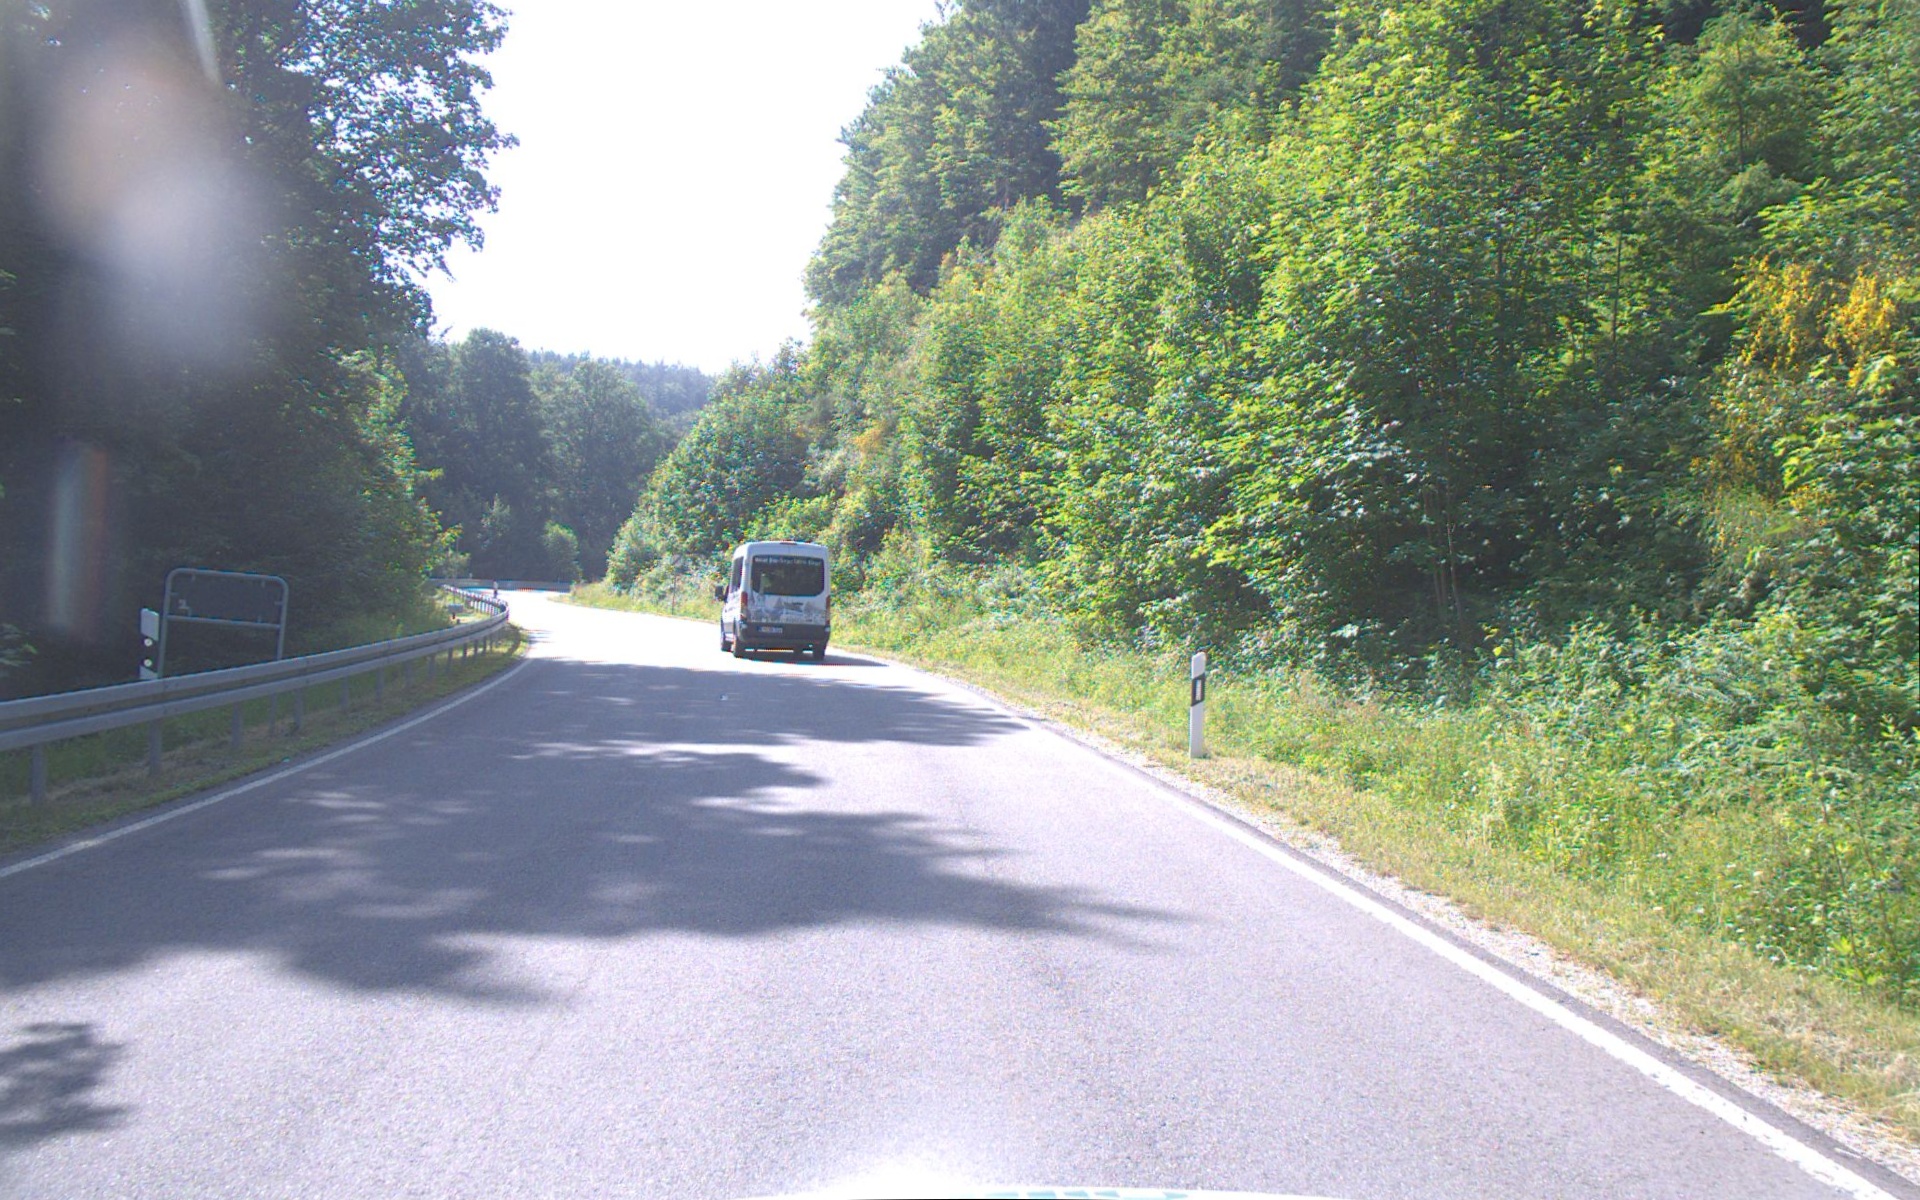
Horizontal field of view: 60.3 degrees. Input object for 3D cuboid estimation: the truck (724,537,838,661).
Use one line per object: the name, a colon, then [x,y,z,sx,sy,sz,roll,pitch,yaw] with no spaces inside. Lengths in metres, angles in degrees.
truck: [-4.123,-0.035,37.270,2.078,2.542,5.345,2,0,-11]
